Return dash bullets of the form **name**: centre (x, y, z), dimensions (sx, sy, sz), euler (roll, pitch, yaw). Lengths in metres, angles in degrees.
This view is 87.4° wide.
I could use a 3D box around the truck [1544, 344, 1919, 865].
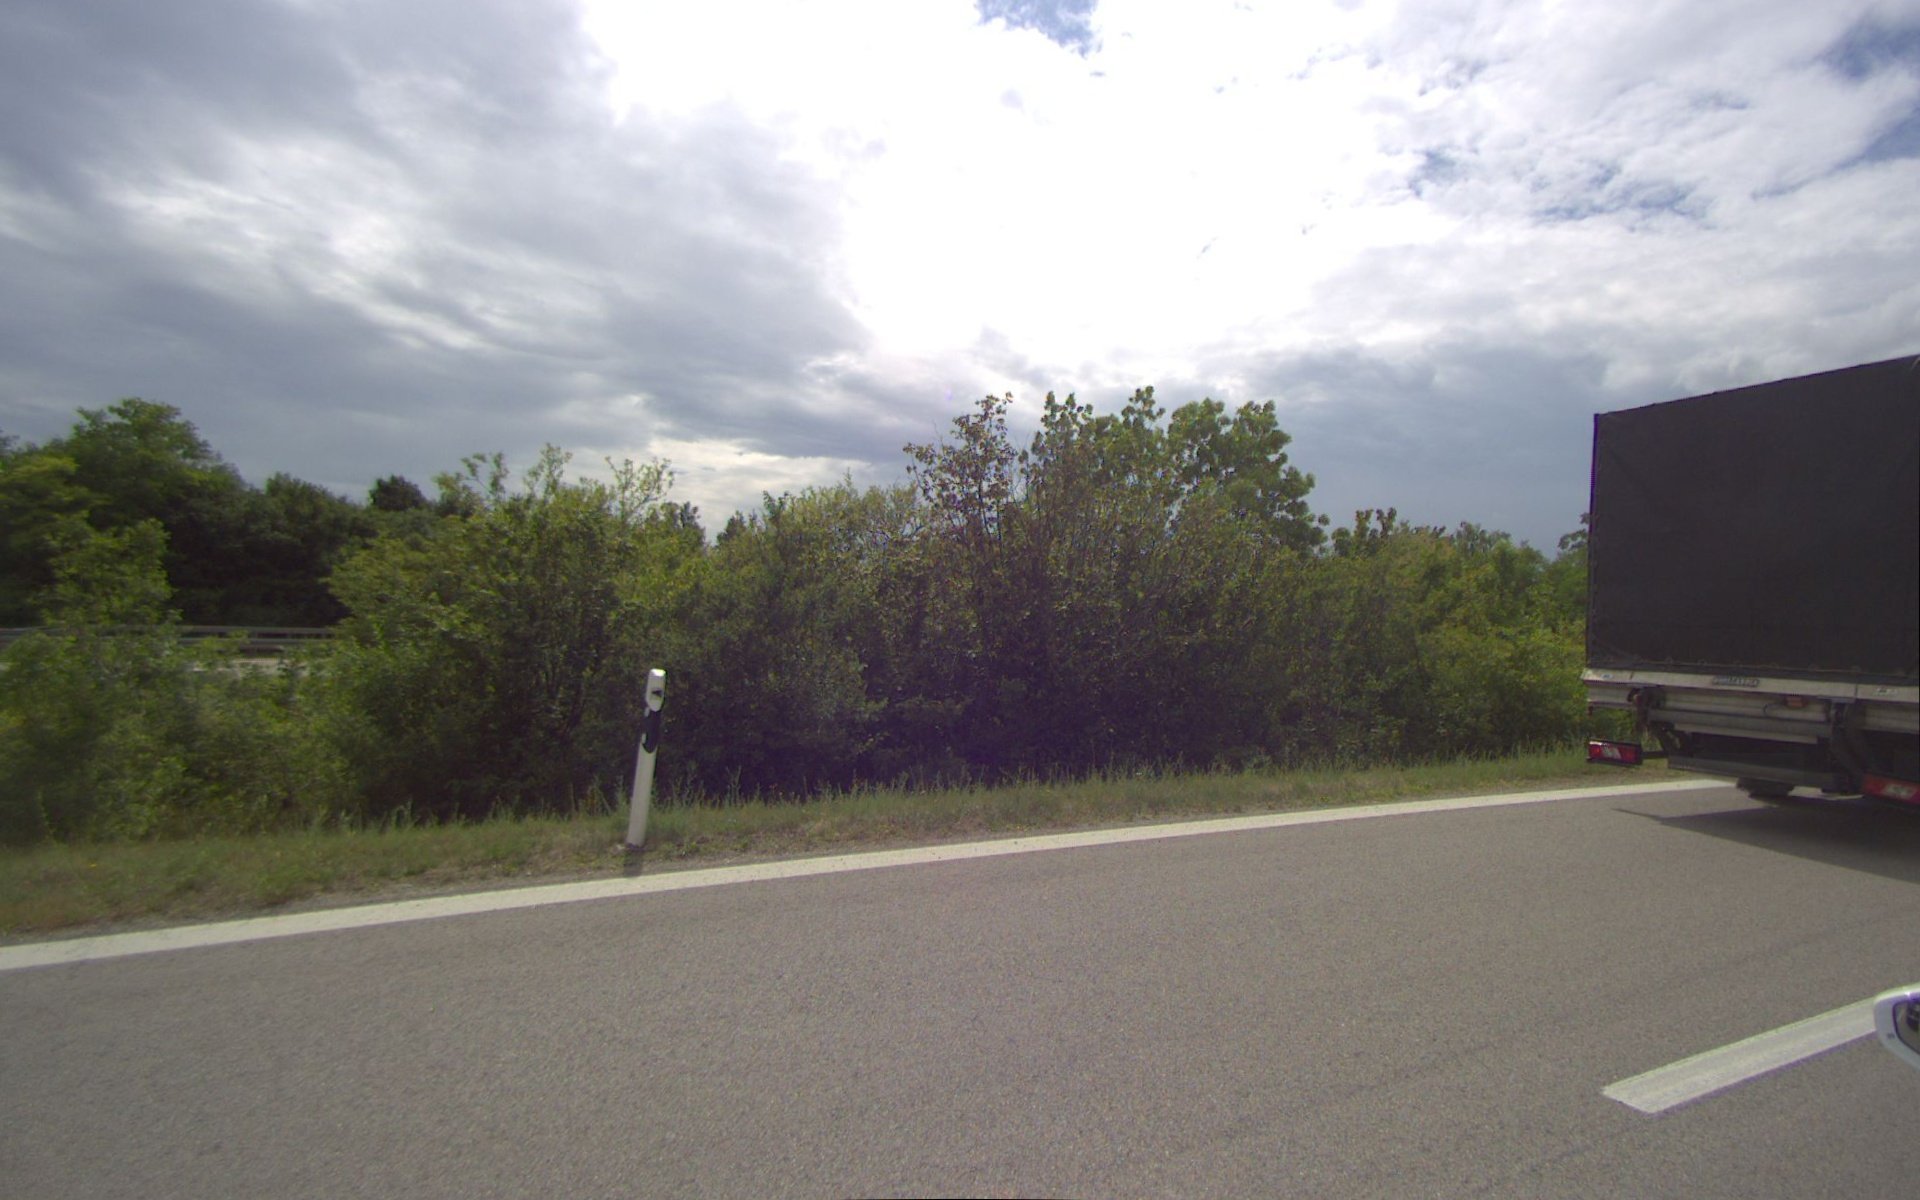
- **truck**: centre (8.844, 0.133, 8.736), dimensions (7.361, 3.210, 2.554), euler (2, 0, -23)
